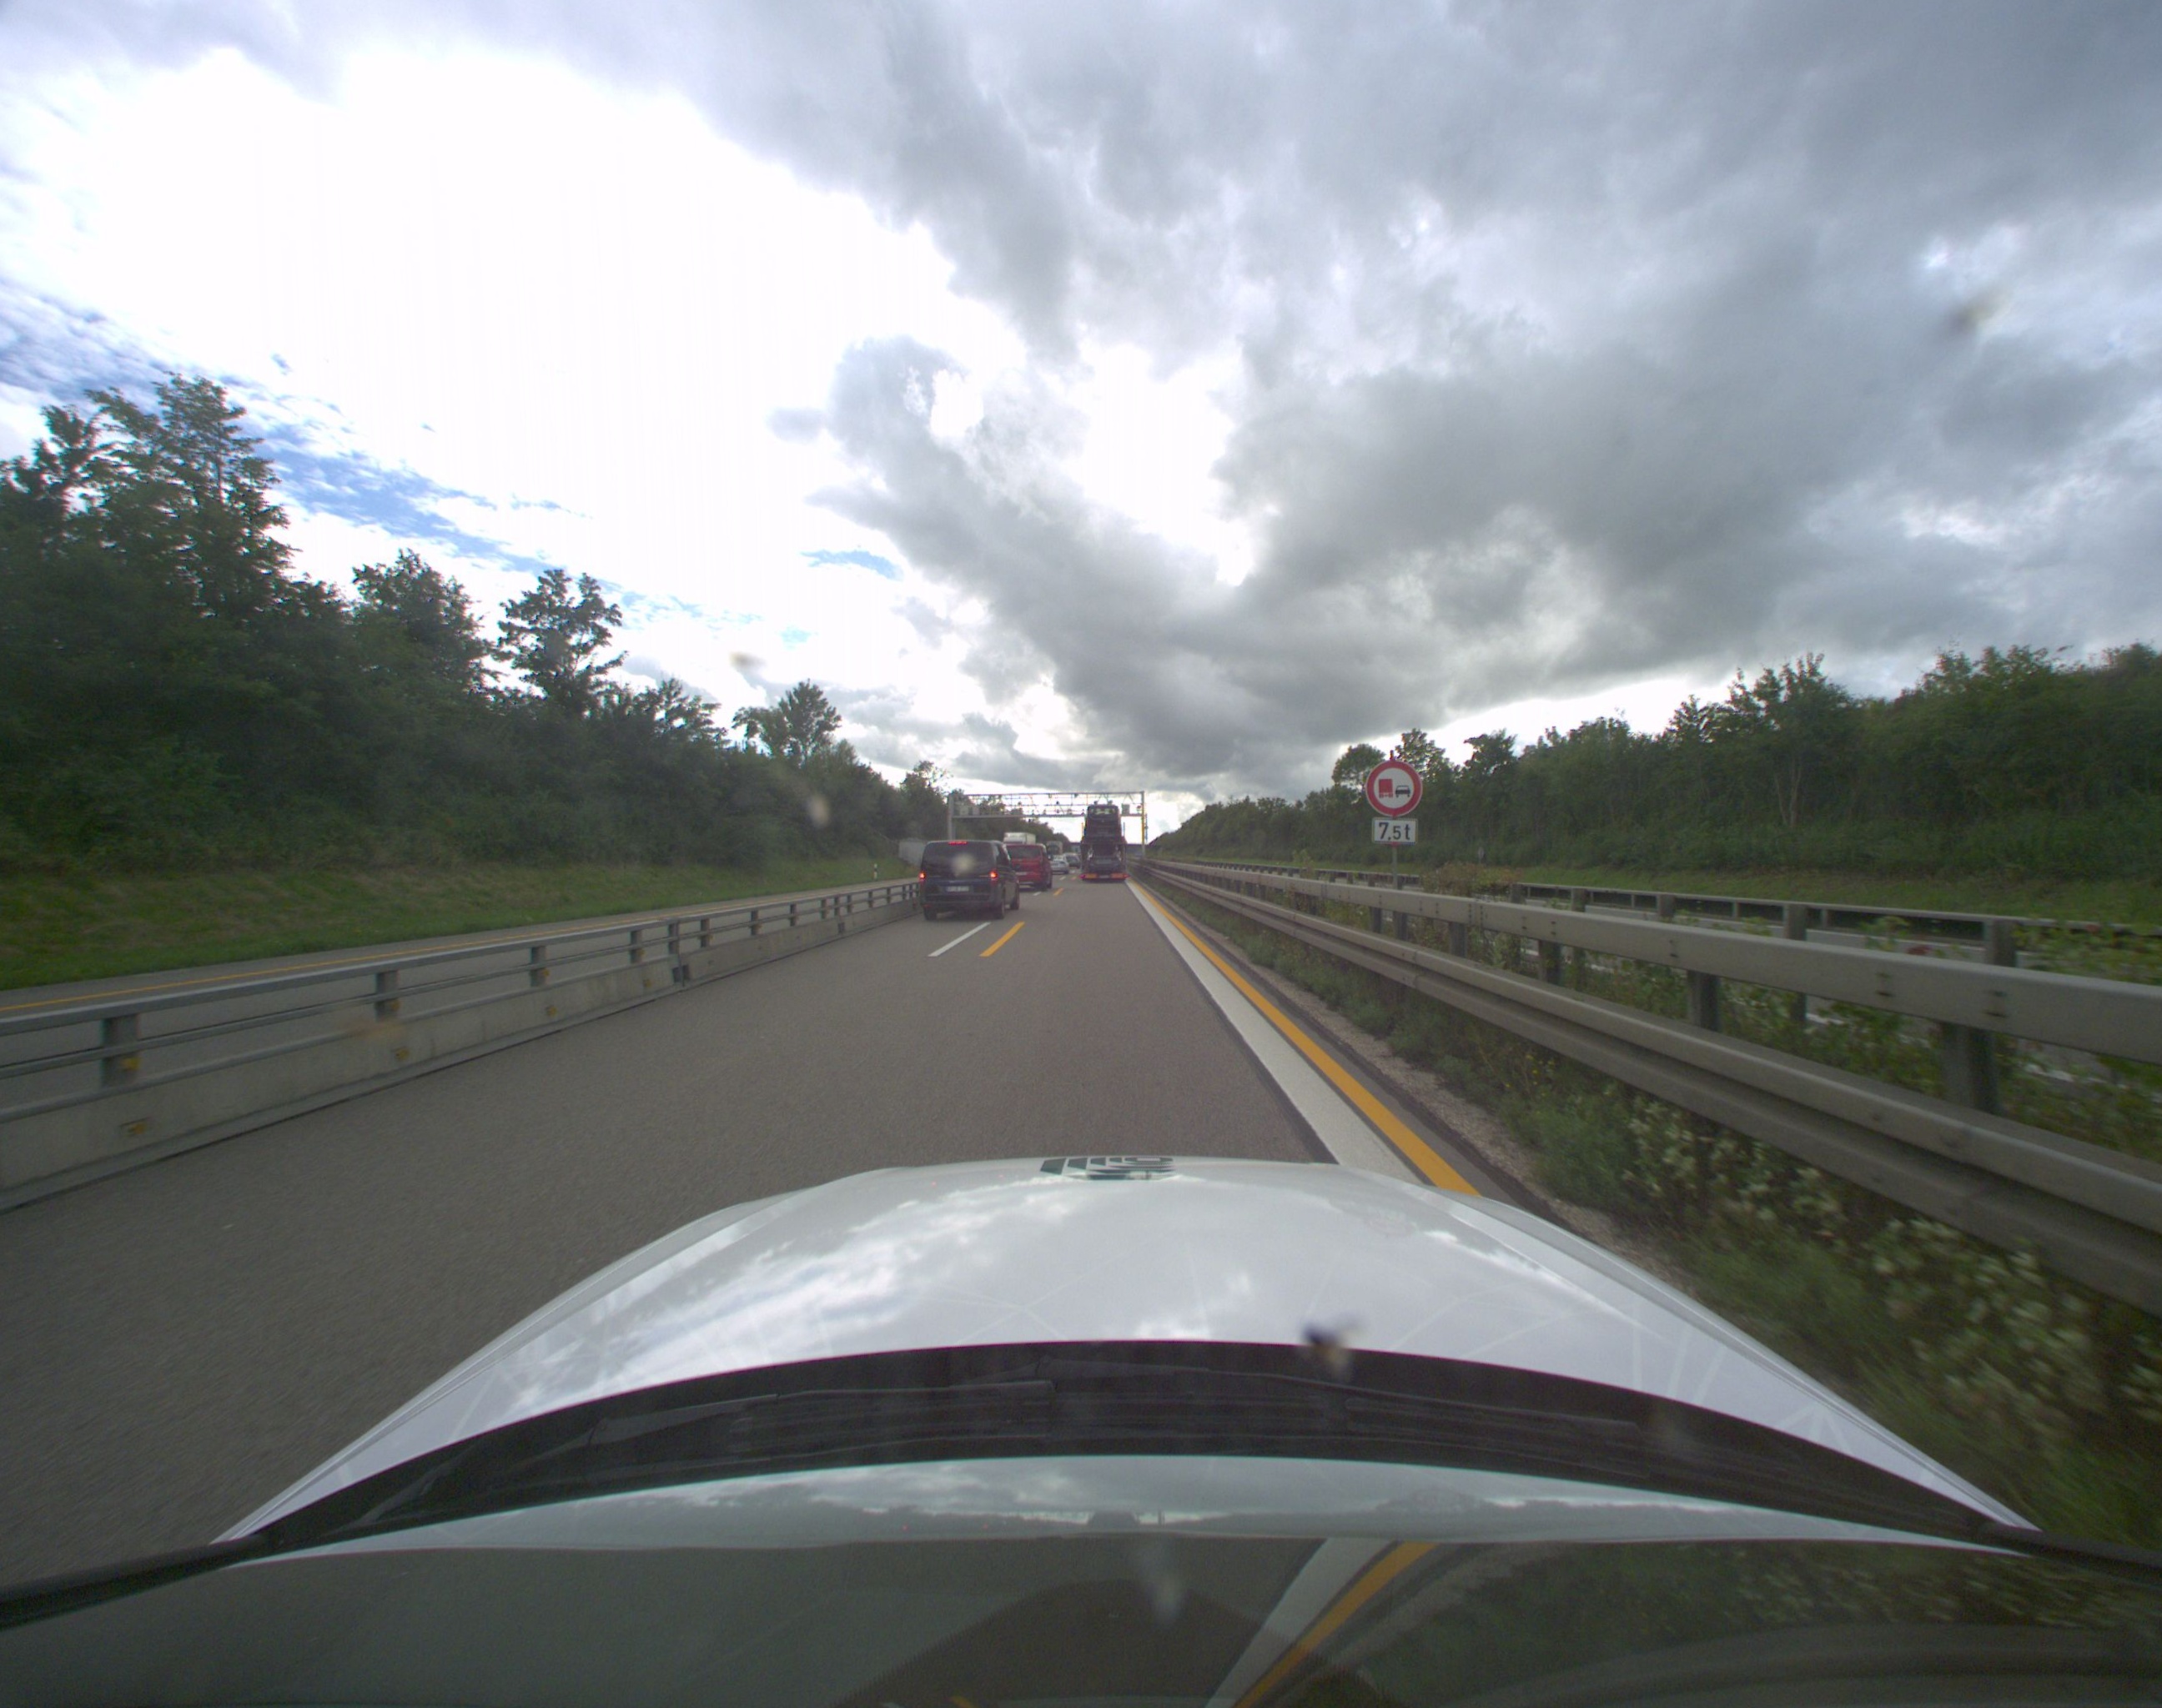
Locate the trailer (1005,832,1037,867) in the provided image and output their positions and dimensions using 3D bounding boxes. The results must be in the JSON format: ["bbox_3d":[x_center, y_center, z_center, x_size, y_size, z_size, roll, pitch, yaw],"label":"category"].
[{"bbox_3d":[-7.361,-0.570,101.785,2.589,4.154,13.995,0,0,1],"label":"trailer"}]

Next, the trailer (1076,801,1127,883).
[{"bbox_3d":[1.251,-0.585,46.844,2.505,4.105,11.119,-1,0,2],"label":"trailer"}]

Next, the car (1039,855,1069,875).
[{"bbox_3d":[-2.049,0.798,62.012,2.024,1.430,4.578,-1,0,1],"label":"car"}]

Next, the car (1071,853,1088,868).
[{"bbox_3d":[-0.133,0.841,100.093,2.024,1.757,4.578,-1,0,1],"label":"car"}]

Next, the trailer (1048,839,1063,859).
[{"bbox_3d":[-5.363,-1.118,173.395,2.589,4.154,13.995,0,0,1],"label":"trailer"}]

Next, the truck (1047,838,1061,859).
[{"bbox_3d":[-5.518,-1.080,166.668,2.589,4.154,5.622,0,0,1],"label":"truck"}]

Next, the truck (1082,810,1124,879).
[{"bbox_3d":[1.436,-0.571,51.589,2.506,4.105,5.688,-1,0,2],"label":"truck"}]

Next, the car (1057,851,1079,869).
[{"bbox_3d":[-1.269,0.631,82.271,2.024,1.757,4.578,-1,0,1],"label":"car"}]

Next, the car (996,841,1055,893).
[{"bbox_3d":[-2.281,0.507,34.536,2.023,2.013,4.579,-1,0,1],"label":"car"}]

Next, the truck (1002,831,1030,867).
[{"bbox_3d":[-7.511,-0.594,94.888,2.589,4.154,5.622,0,0,1],"label":"truck"}]

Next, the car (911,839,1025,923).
[{"bbox_3d":[-2.728,0.601,21.047,1.986,1.843,5.611,-1,0,2],"label":"car"}]
